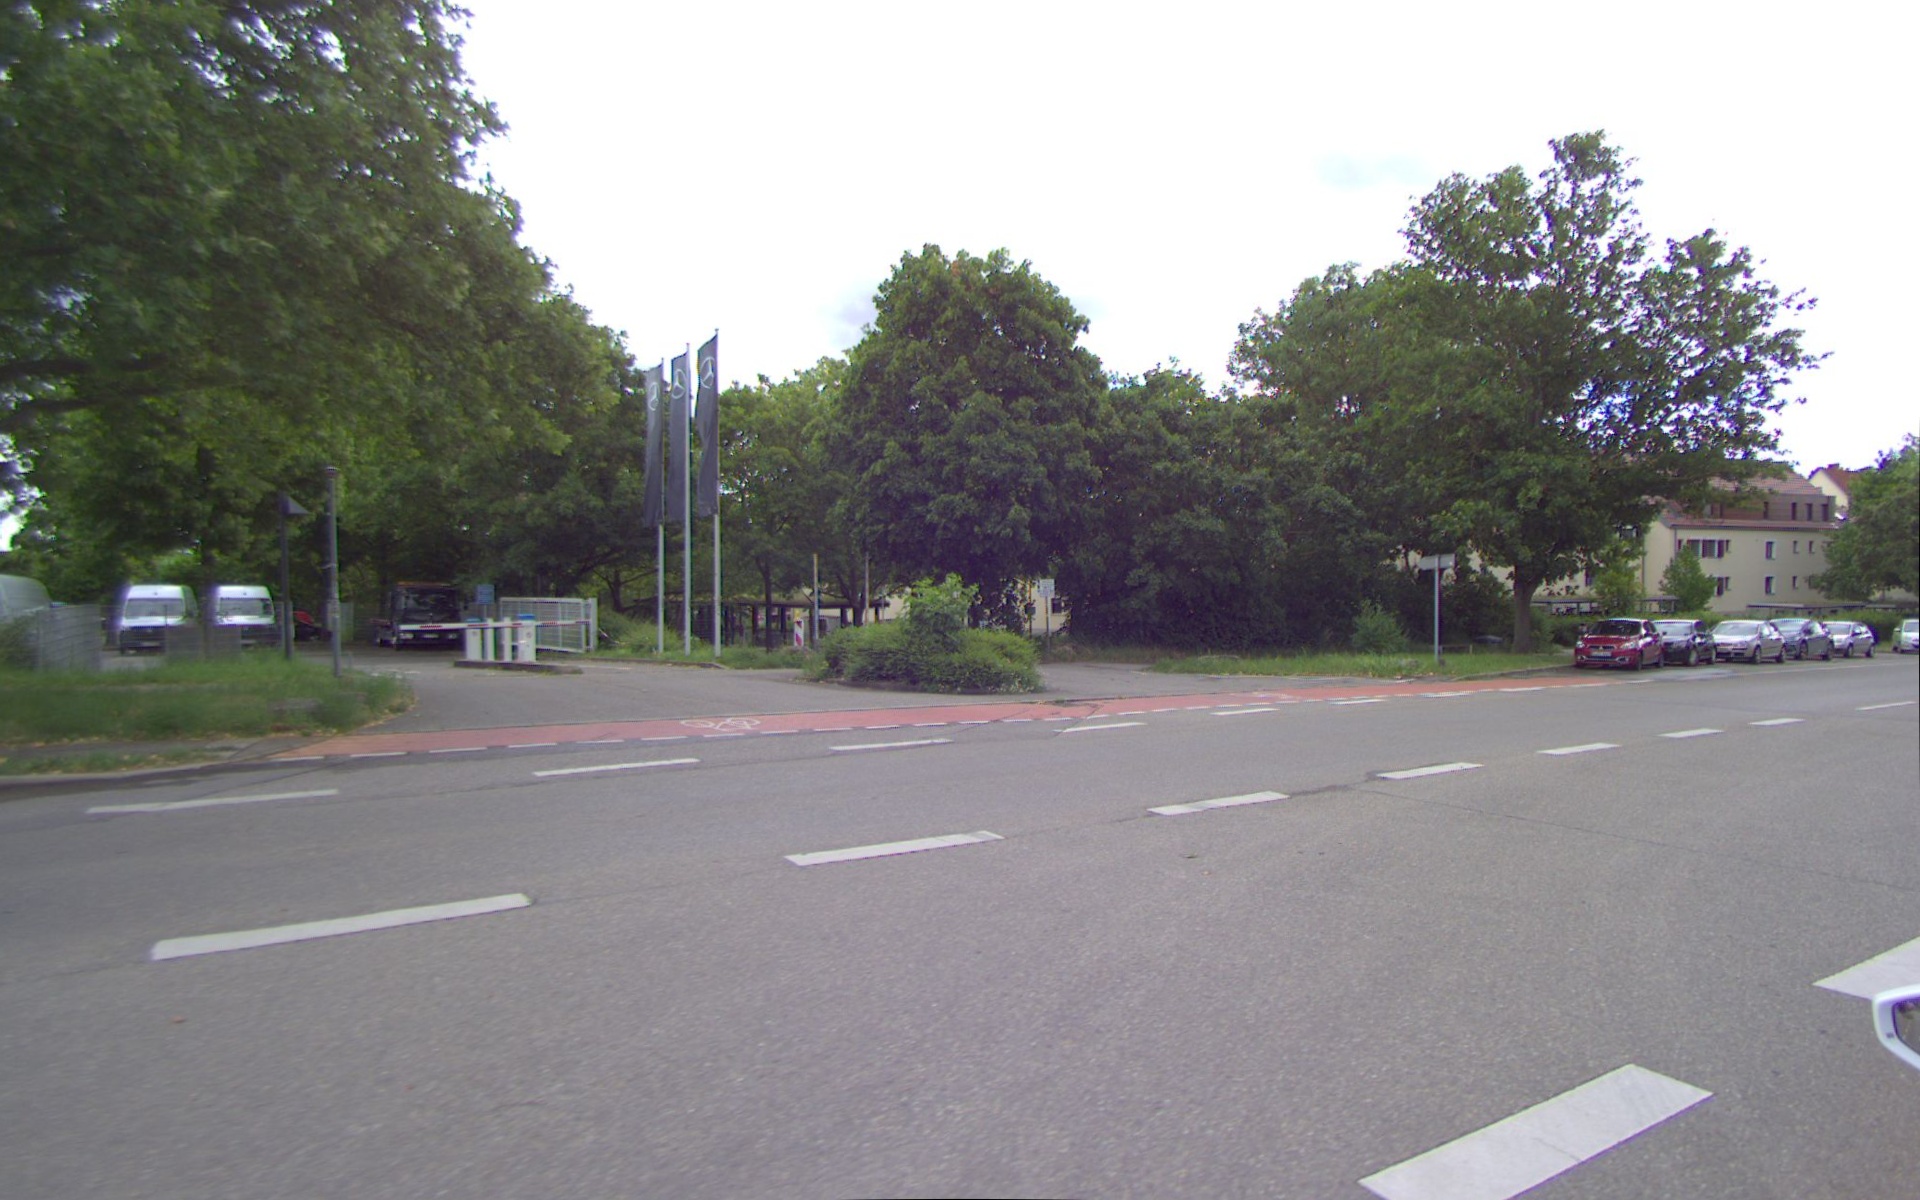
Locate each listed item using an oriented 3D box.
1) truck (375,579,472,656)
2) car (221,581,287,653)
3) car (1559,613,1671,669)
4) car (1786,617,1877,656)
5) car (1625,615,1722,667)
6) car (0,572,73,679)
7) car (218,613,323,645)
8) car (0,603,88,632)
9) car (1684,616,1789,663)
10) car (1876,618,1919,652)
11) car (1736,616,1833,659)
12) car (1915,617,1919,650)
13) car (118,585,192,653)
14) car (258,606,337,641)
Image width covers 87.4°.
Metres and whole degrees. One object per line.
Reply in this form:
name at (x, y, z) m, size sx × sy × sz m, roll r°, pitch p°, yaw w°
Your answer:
truck at (-22.945, 0.682, 42.764) m, size 2.684 × 3.009 × 6.729 m, roll 2°, pitch 0°, yaw -36°
car at (-29.261, 0.628, 41.502) m, size 1.982 × 2.722 × 6.888 m, roll 2°, pitch 0°, yaw -37°
car at (19.829, 1.193, 30.349) m, size 3.858 × 1.527 × 1.858 m, roll 1°, pitch 0°, yaw -41°
car at (36.403, 1.481, 41.919) m, size 3.957 × 1.527 × 1.864 m, roll 1°, pitch -1°, yaw -33°
car at (23.378, 1.305, 32.865) m, size 3.972 × 1.527 × 1.857 m, roll 1°, pitch 0°, yaw -44°
car at (-20.331, 0.546, 20.987) m, size 1.992 × 2.040 × 5.251 m, roll 2°, pitch -3°, yaw -34°
car at (-32.523, 1.380, 47.413) m, size 3.963 × 1.429 × 1.979 m, roll 2°, pitch 0°, yaw -37°
car at (-48.974, 0.911, 53.317) m, size 3.968 × 1.429 × 1.977 m, roll 2°, pitch 0°, yaw -40°
car at (27.470, 1.376, 35.502) m, size 4.017 × 1.527 × 1.863 m, roll 1°, pitch 0°, yaw -35°
car at (44.061, 1.590, 46.653) m, size 1.851 × 1.527 × 3.985 m, roll 0°, pitch -1°, yaw 37°
car at (32.041, 1.408, 38.995) m, size 3.958 × 1.527 × 1.863 m, roll 1°, pitch 0°, yaw -34°
car at (48.520, 1.696, 48.823) m, size 3.949 × 1.618 × 1.868 m, roll 2°, pitch 0°, yaw -27°
car at (-31.730, 0.683, 39.741) m, size 1.982 × 2.445 × 6.888 m, roll 2°, pitch 0°, yaw -37°
car at (-40.454, 1.434, 61.427) m, size 3.957 × 2.040 × 1.893 m, roll 2°, pitch 0°, yaw -33°
